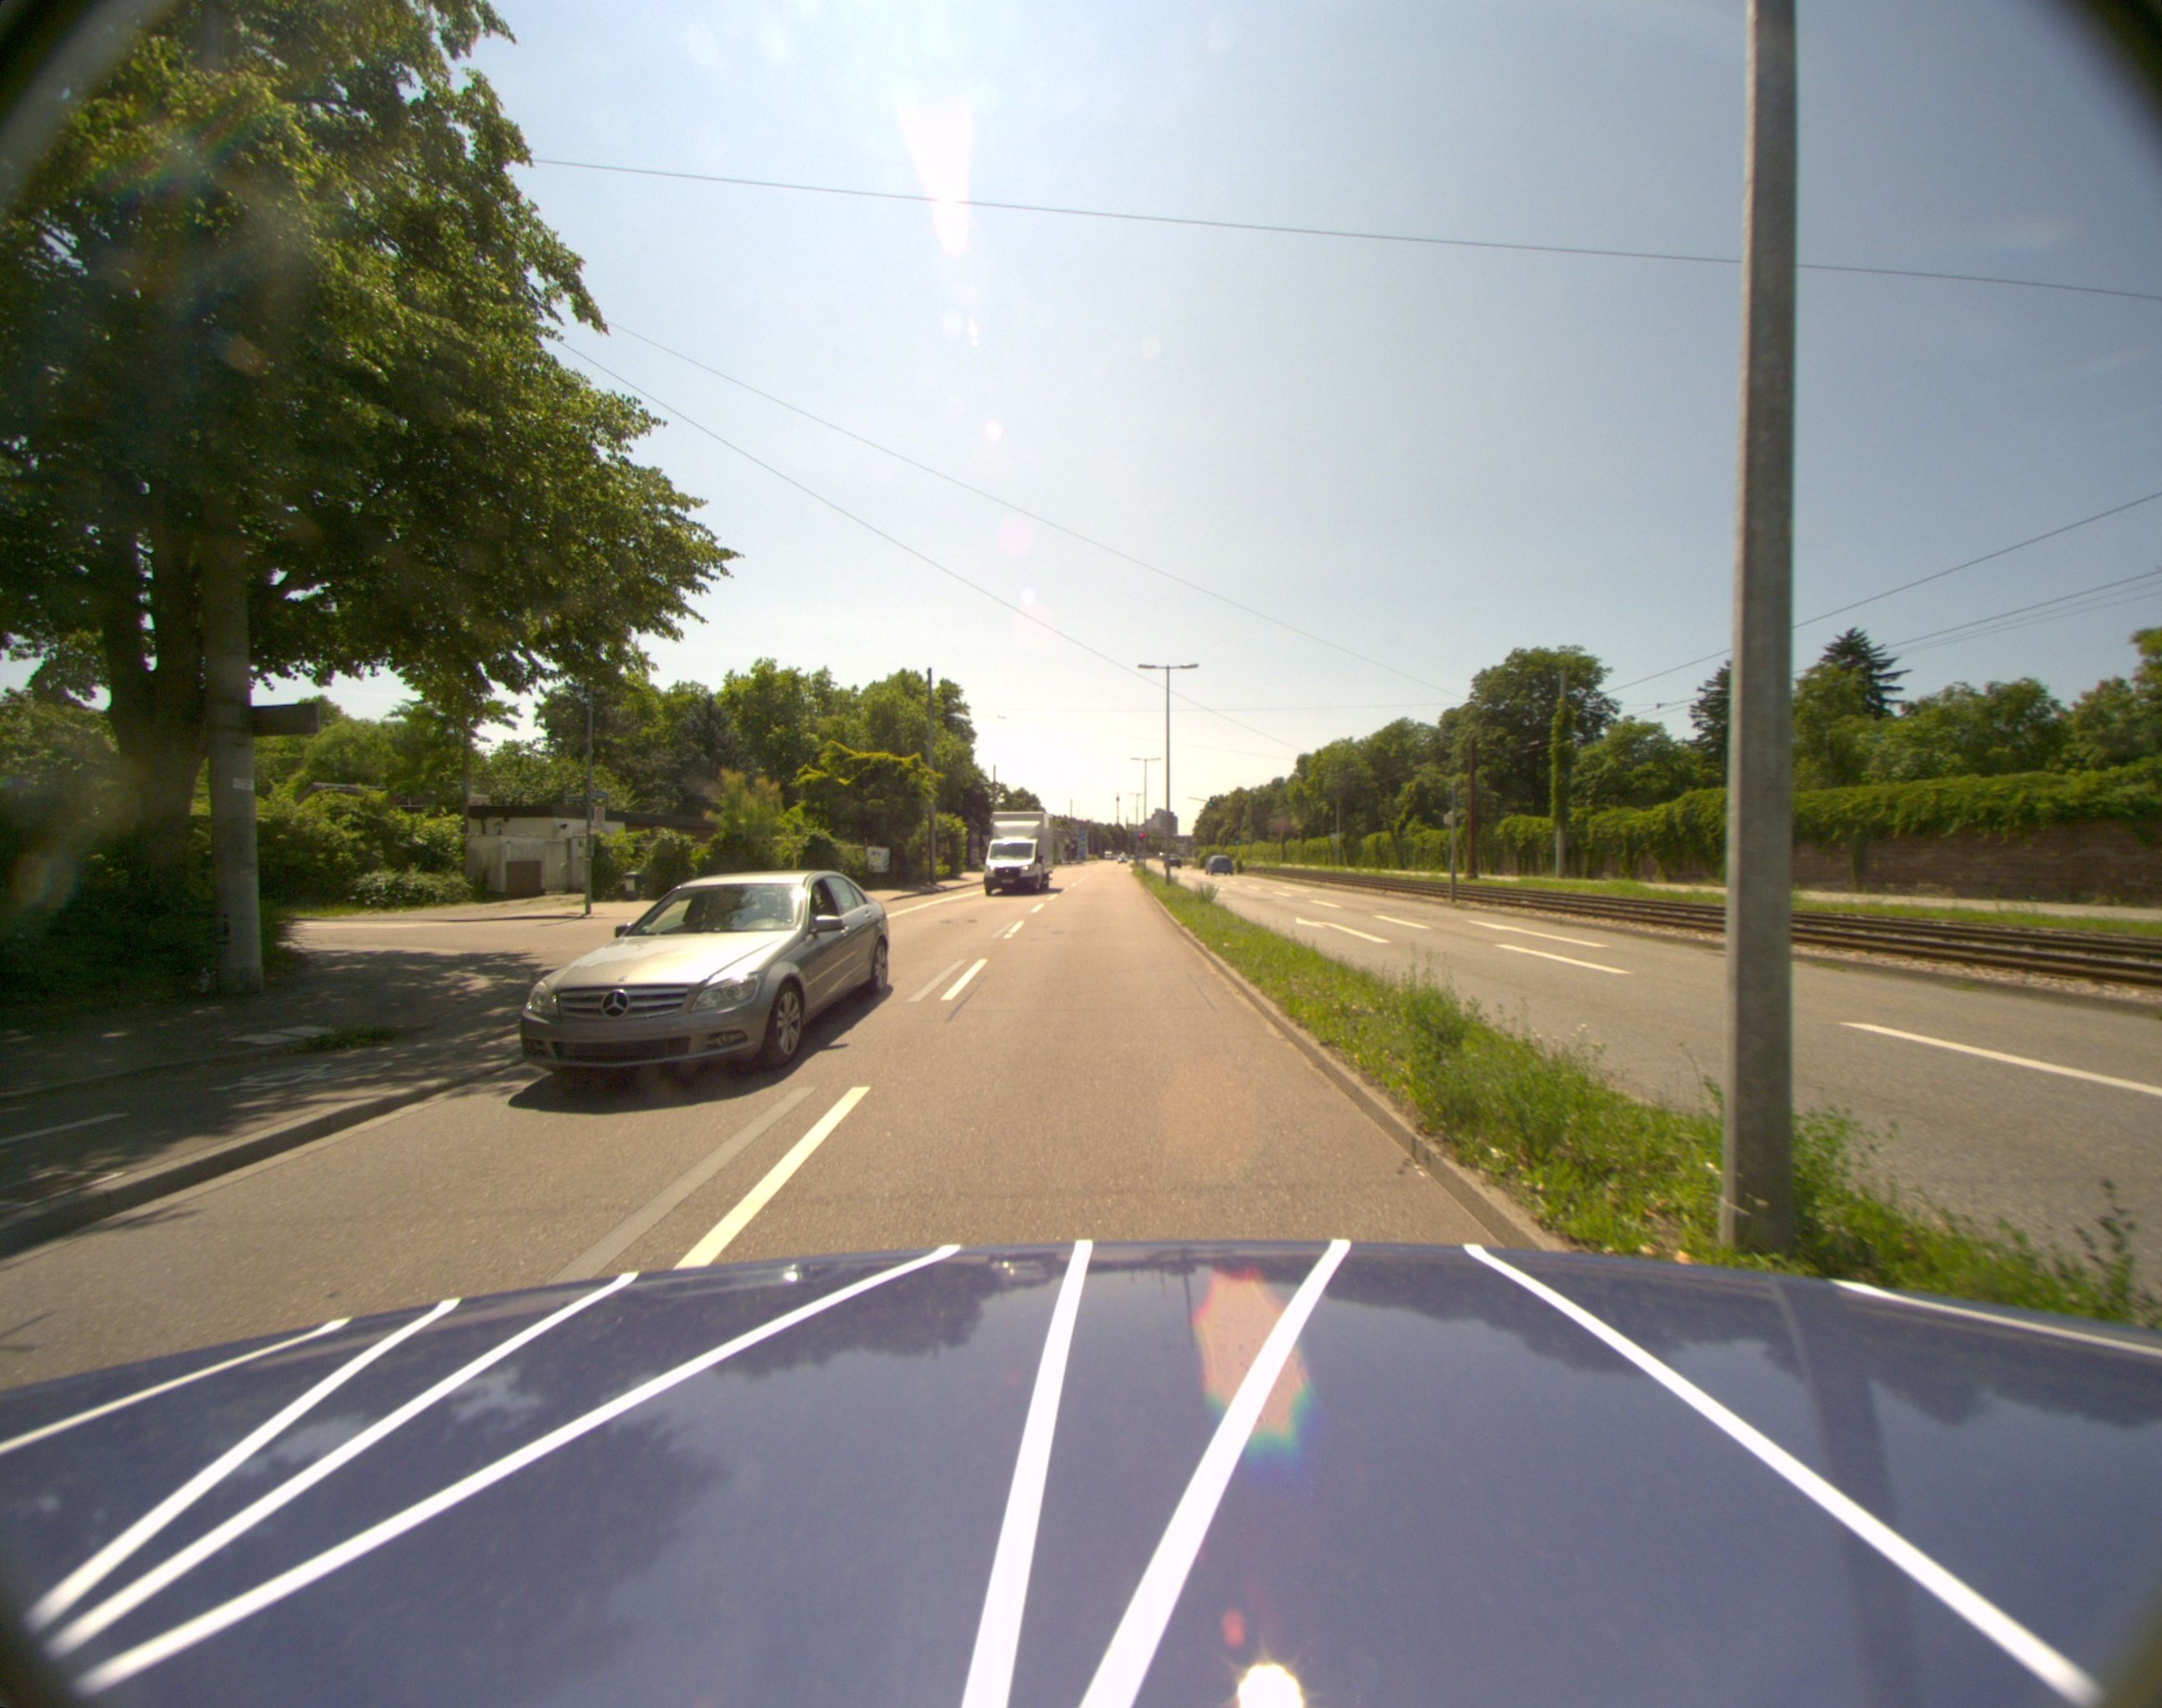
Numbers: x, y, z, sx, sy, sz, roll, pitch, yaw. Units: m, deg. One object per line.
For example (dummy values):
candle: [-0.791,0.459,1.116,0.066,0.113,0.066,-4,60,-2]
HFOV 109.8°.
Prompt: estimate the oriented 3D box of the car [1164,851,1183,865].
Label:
car: [10.487,0.463,86.322,1.765,1.512,4.097,1,0,1]

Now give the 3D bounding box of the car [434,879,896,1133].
car: [-3.158,1.051,6.873,1.903,1.451,3.971,-1,0,1]

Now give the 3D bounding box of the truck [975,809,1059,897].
truck: [-2.520,-0.077,32.430,2.294,3.259,8.313,-1,1,4]

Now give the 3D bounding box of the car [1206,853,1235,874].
car: [10.425,0.674,56.941,1.698,1.462,3.791,1,0,4]

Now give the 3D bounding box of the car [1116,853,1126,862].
car: [7.360,0.592,140.424,1.828,1.556,4.001,-1,0,4]

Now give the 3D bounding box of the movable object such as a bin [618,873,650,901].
movable object such as a bin: [-14.838,1.090,25.237,0.630,0.898,0.637,-1,1,4]
